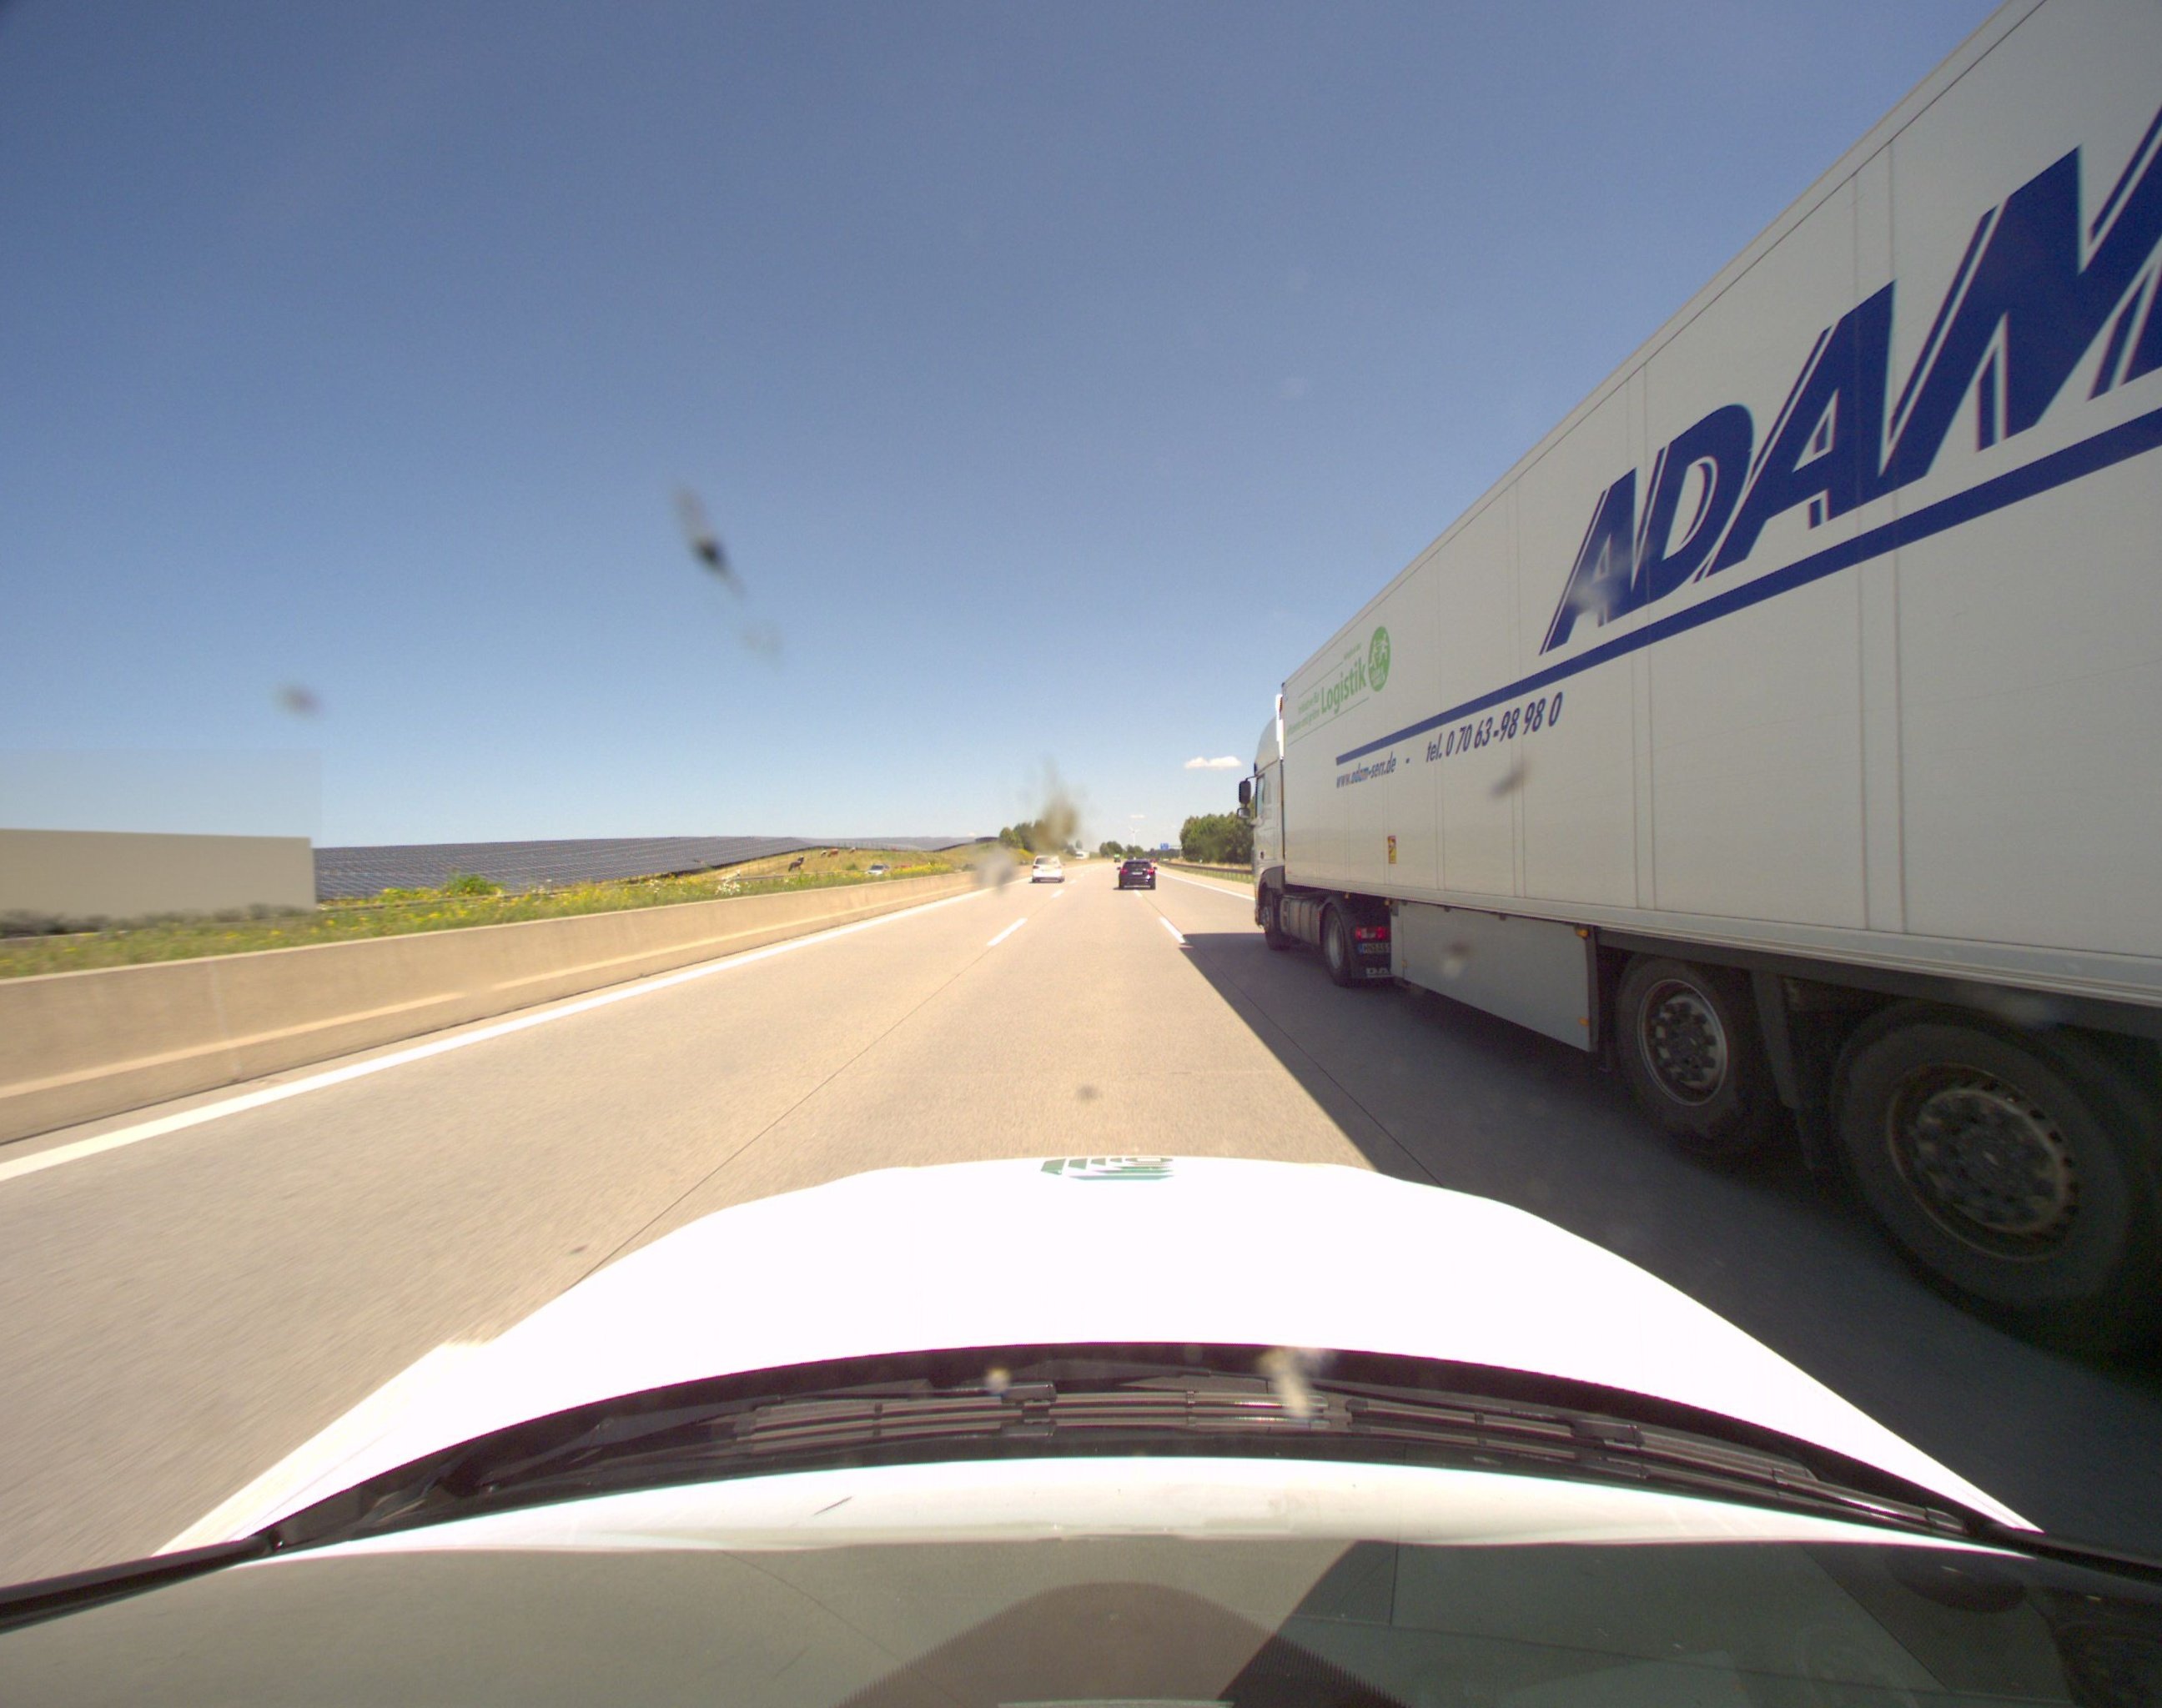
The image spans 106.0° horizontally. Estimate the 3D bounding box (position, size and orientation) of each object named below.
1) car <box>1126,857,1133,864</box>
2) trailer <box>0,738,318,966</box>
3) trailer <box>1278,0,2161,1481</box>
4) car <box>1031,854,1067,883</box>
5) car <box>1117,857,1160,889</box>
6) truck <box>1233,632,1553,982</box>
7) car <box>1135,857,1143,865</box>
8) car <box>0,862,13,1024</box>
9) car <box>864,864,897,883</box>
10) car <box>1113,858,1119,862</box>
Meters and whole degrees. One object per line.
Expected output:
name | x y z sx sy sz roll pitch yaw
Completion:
car | 13.653 1.922 230.277 1.819 1.937 3.812 -1 -1 3
trailer | -20.566 -0.048 12.998 3.079 4.004 14.145 0 -1 2
trailer | 3.981 -0.573 4.802 2.842 4.042 12.716 -1 0 1
car | -1.995 0.903 52.065 1.838 1.708 6.038 0 -1 2
car | 2.750 0.893 39.965 1.903 1.492 4.193 0 0 1
truck | 4.197 -0.538 12.469 2.801 4.088 5.800 -1 0 2
car | 14.952 1.871 210.262 1.818 1.907 4.006 -1 0 6
car | -14.262 1.062 7.513 2.064 1.971 5.033 1 0 2
car | -17.120 1.623 69.665 1.643 1.552 3.970 1 0 2
car | 10.431 1.796 240.088 1.649 1.196 3.961 2 0 2
